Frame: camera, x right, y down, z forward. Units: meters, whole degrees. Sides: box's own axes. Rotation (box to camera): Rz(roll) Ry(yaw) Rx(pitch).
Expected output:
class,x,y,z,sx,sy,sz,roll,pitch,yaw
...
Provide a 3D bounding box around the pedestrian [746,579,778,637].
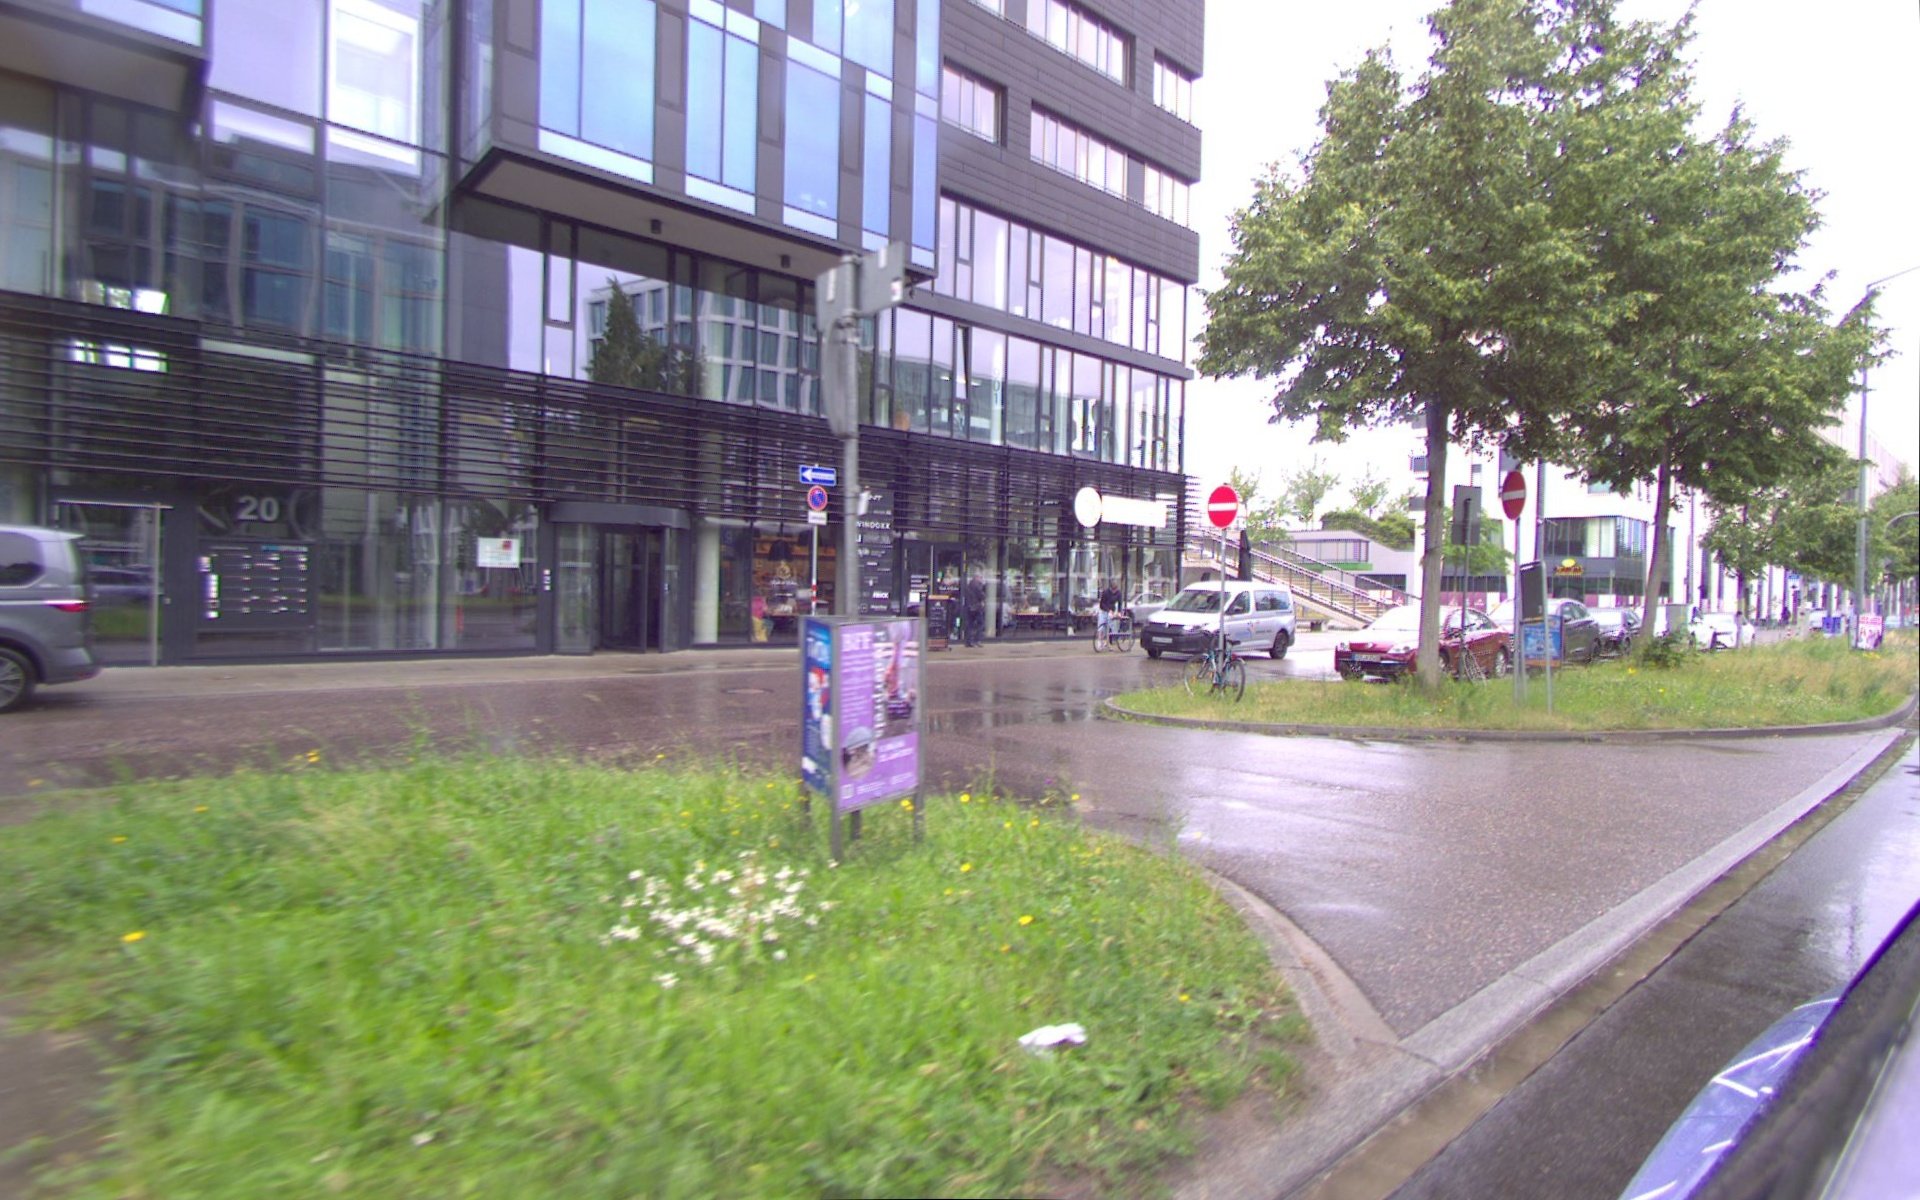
class,x,y,z,sx,sy,sz,roll,pitch,yaw
pedestrian,-4.354,0.175,22.275,0.571,1.253,0.449,3,-1,1

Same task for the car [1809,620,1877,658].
class,x,y,z,sx,sy,sz,roll,pitch,yaw
car,43.756,1.946,50.096,4.755,1.729,1.996,4,-1,-42

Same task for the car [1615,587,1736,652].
class,x,y,z,sx,sy,sz,roll,pitch,yaw
car,21.662,0.625,30.568,4.755,1.729,1.996,4,-1,-42

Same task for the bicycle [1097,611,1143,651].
class,x,y,z,sx,sy,sz,roll,pitch,yaw
bicycle,3.848,0.741,24.248,0.436,0.909,1.212,2,-1,44

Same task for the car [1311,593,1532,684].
class,x,y,z,sx,sy,sz,roll,pitch,yaw
car,8.841,0.670,19.176,4.872,1.473,1.997,1,1,-41

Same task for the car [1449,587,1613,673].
class,x,y,z,sx,sy,sz,roll,pitch,yaw
car,12.948,0.689,22.855,4.144,1.729,1.996,4,-1,-42

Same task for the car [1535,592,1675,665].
class,x,y,z,sx,sy,sz,roll,pitch,yaw
car,17.271,0.798,27.012,4.642,1.729,1.996,4,-1,-42

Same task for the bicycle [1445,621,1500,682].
class,x,y,z,sx,sy,sz,roll,pitch,yaw
bicycle,8.048,0.790,15.860,0.570,0.873,1.891,2,-1,33

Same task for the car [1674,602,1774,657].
class,x,y,z,sx,sy,sz,roll,pitch,yaw
car,27.321,1.071,36.118,4.755,1.729,1.996,4,-1,-42

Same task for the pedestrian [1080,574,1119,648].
class,x,y,z,sx,sy,sz,roll,pitch,yaw
pedestrian,3.363,0.270,24.410,0.625,1.727,0.646,2,-2,43

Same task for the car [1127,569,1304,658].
class,x,y,z,sx,sy,sz,roll,pitch,yaw
car,6.106,0.304,23.856,4.645,1.889,1.895,1,0,-44

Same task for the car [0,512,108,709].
class,x,y,z,sx,sy,sz,roll,pitch,yaw
car,-11.424,0.070,9.547,5.063,1.944,1.995,1,1,-44

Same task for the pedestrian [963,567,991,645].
class,x,y,z,sx,sy,sz,roll,pitch,yaw
pedestrian,0.425,0.145,24.620,0.500,1.856,0.574,2,-1,12

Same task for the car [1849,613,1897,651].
class,x,y,z,sx,sy,sz,roll,pitch,yaw
car,52.193,1.847,57.839,1.910,2.039,3.936,2,-1,44

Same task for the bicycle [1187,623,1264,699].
class,x,y,z,sx,sy,sz,roll,pitch,yaw
bicycle,3.591,0.807,13.780,0.424,0.929,1.464,3,-1,-9
